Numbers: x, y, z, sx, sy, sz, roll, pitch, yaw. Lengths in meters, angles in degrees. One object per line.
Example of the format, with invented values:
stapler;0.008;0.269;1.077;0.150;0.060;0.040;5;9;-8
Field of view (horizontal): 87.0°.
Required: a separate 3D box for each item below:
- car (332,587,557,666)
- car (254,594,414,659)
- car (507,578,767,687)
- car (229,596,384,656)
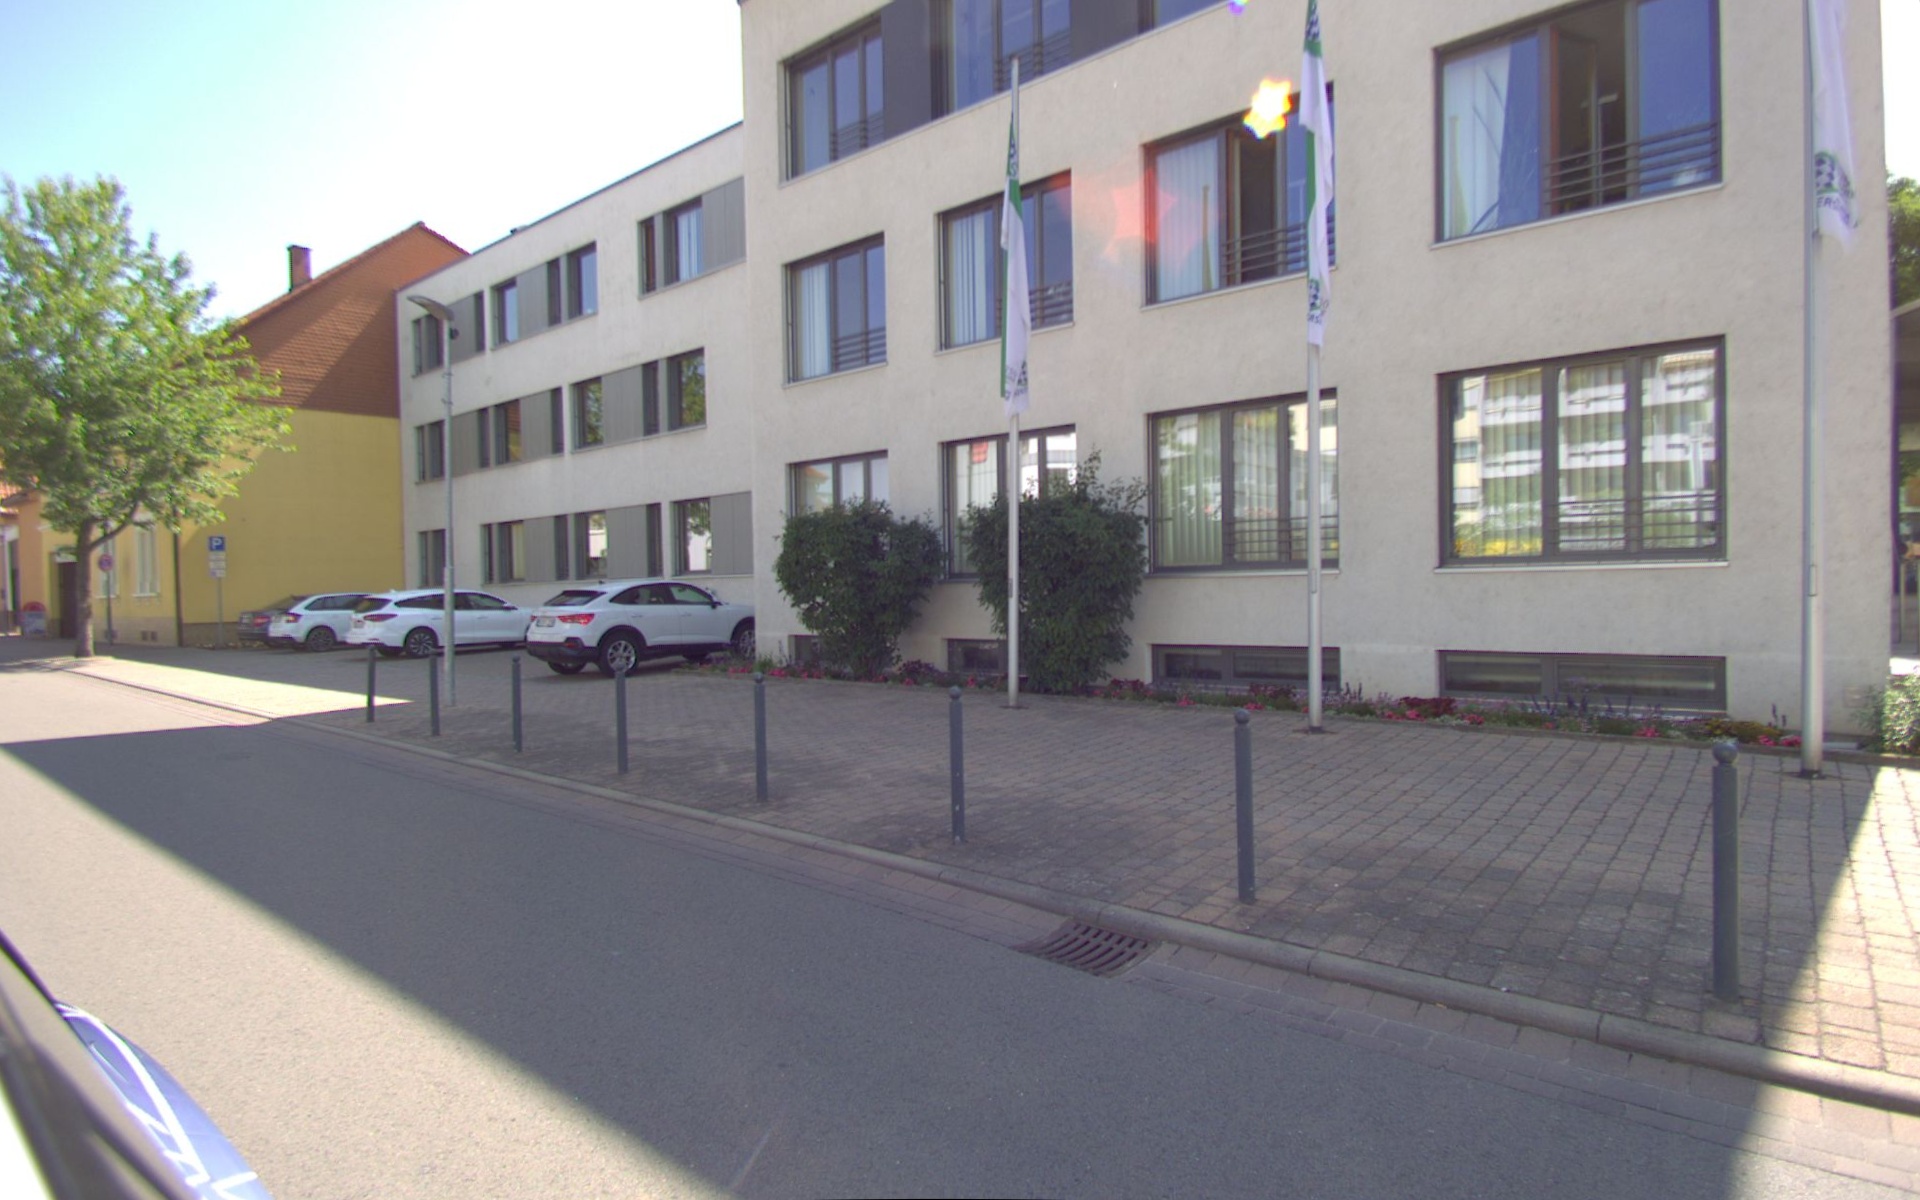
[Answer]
car;-11.594;0.535;23.024;1.512;1.490;4.270;0;2;40
car;-15.957;0.631;25.892;1.642;1.461;3.099;-1;2;41
car;-5.453;0.470;17.490;1.747;1.559;3.949;-1;2;38
car;-17.611;0.667;27.358;1.373;1.412;3.218;-1;2;38
